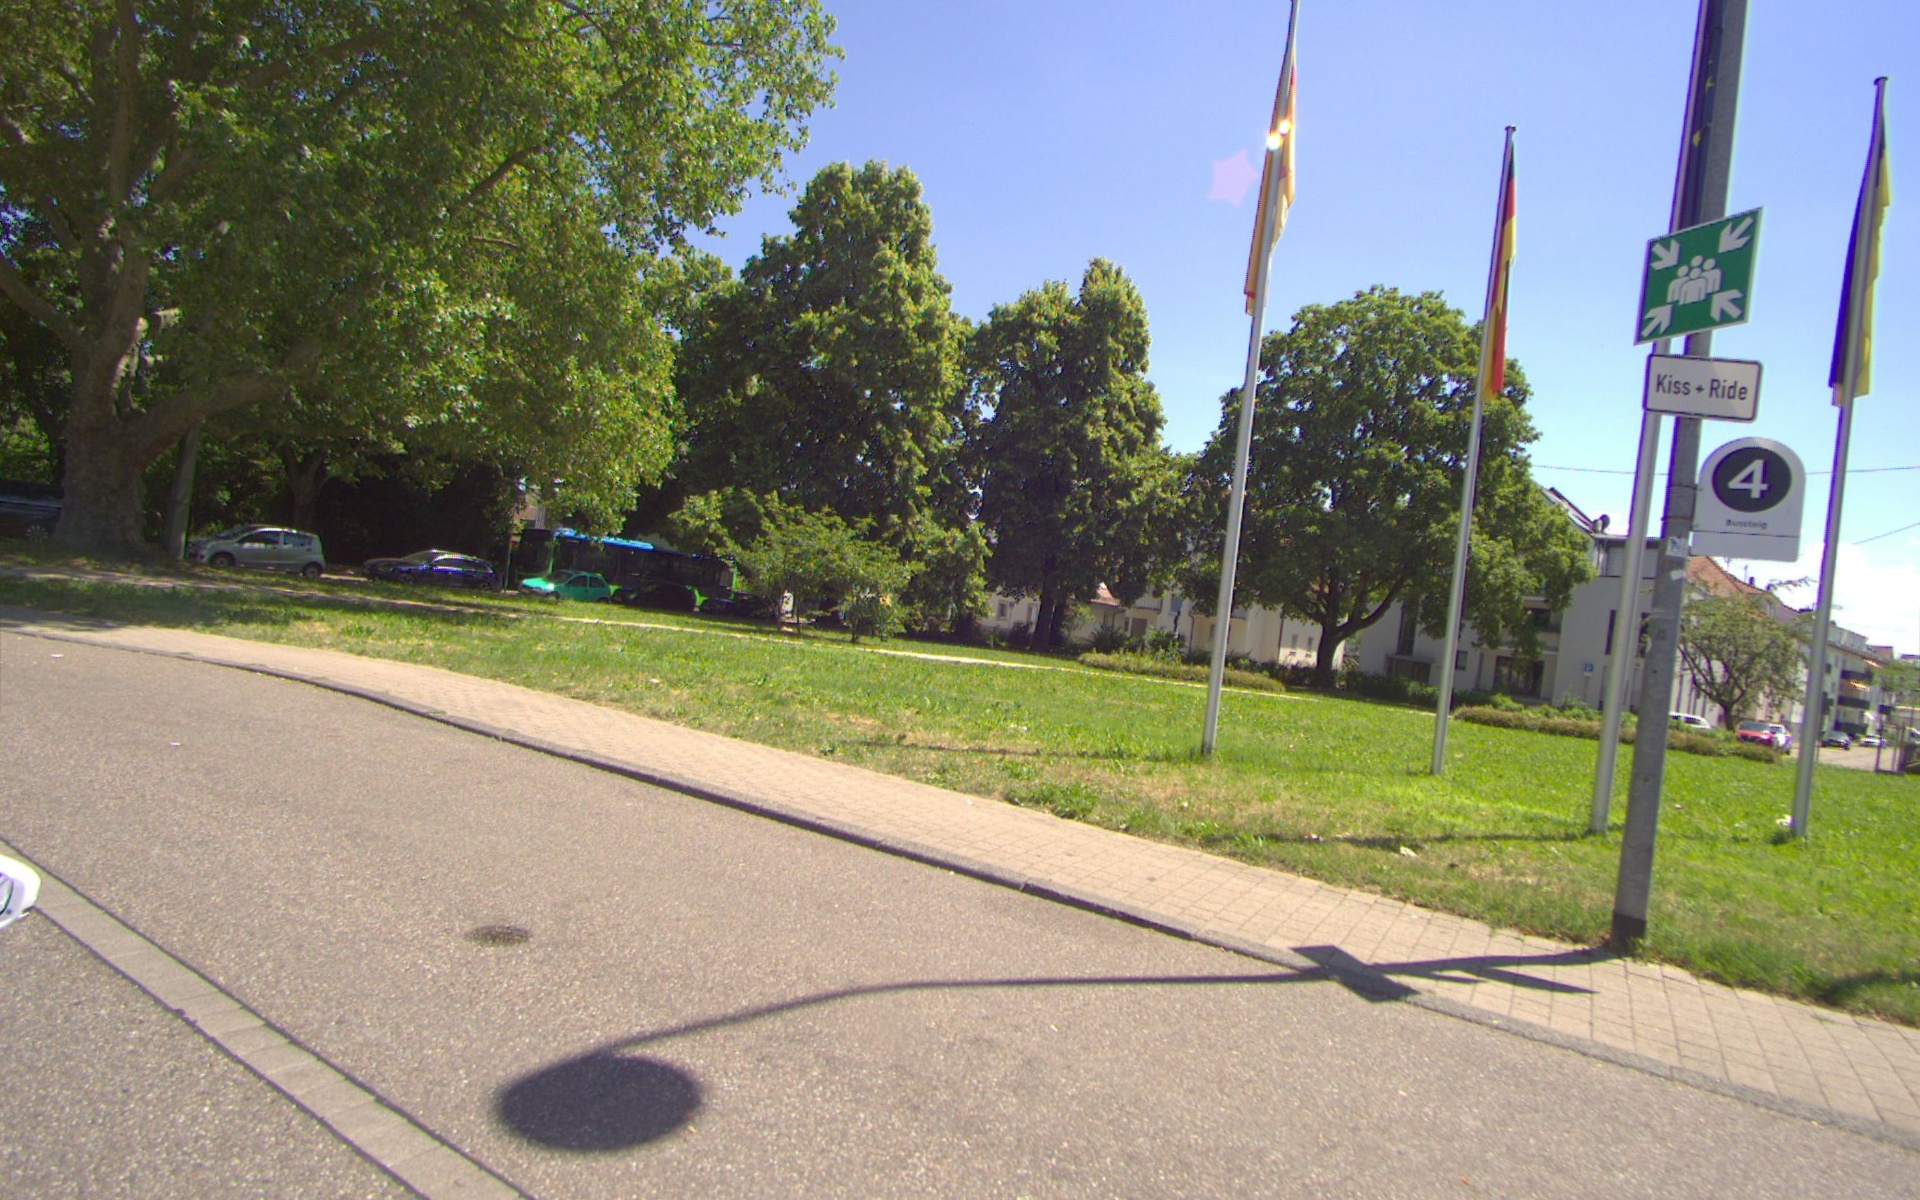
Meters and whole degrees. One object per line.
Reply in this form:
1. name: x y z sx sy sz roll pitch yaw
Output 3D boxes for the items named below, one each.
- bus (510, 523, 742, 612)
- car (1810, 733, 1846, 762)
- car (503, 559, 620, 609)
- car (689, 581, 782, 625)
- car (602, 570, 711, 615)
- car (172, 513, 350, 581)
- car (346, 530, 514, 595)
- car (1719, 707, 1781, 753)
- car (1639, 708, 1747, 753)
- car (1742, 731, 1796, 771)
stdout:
1. bus: -16.337 -1.445 50.859 2.231 3.013 12.396 6 -1 32
2. car: 70.419 11.920 81.571 1.974 2.038 3.979 5 -2 43
3. car: -16.029 -0.623 40.645 1.968 1.471 3.887 6 -2 33
4. car: -10.901 0.181 49.160 1.968 1.627 4.102 6 -2 33
5. car: -13.430 -0.303 44.784 1.967 1.432 4.344 6 -2 32
6. car: -21.919 -1.635 31.670 1.969 1.484 4.106 7 -1 36
7. car: -18.808 -1.285 35.922 1.968 1.627 4.827 7 -1 34
8. car: 40.072 6.583 50.978 3.735 1.981 1.809 7 -2 -43
9. car: 33.774 6.008 46.439 3.635 1.450 1.467 7 0 10
10. car: 44.081 8.172 54.772 3.893 1.838 1.730 7 -2 -44
